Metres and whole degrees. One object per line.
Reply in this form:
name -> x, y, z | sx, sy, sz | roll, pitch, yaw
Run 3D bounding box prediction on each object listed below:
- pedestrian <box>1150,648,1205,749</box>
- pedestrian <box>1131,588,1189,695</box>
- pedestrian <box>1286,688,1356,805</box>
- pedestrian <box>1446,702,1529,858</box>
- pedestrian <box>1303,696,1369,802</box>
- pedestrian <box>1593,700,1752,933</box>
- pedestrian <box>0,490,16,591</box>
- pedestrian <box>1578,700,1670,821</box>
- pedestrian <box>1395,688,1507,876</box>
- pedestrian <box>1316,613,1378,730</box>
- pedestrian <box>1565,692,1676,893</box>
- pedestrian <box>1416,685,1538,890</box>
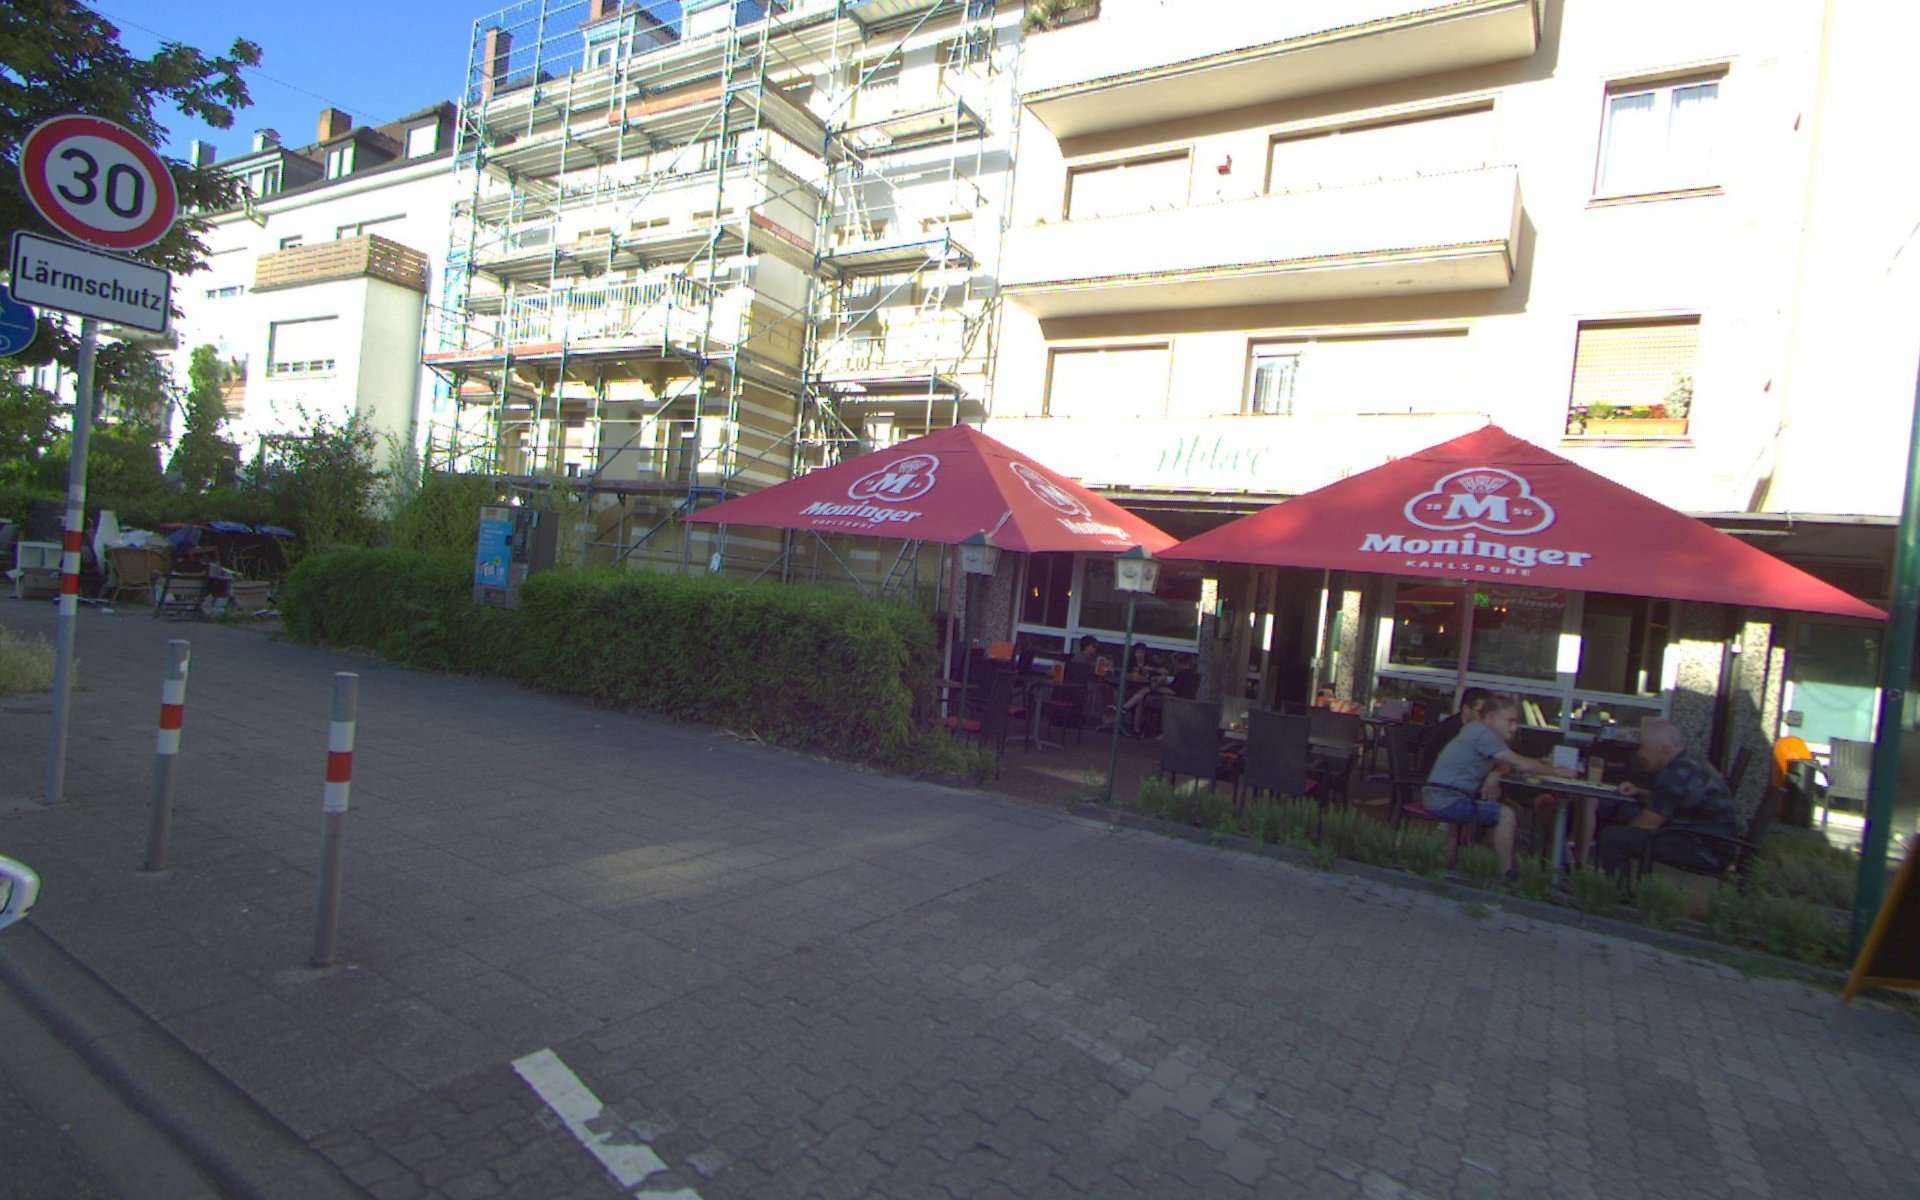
pedestrian -> 2.745, 1.236, 12.664 | 0.407, 1.203, 0.524 | 4, -1, 38
pedestrian -> 3.510, 0.733, 17.652 | 0.674, 1.797, 0.524 | 6, 0, 33
pedestrian -> 3.523, 1.414, 9.816 | 0.407, 1.062, 0.524 | 6, 0, 38
pedestrian -> 4.278, 1.437, 8.150 | 0.407, 1.164, 0.524 | 6, 0, 38
pedestrian -> 3.845, 1.506, 10.284 | 0.407, 1.003, 0.524 | 6, 0, 38
pedestrian -> 4.026, 1.185, 5.705 | 0.622, 1.164, 0.412 | 6, 0, 36
pedestrian -> -15.497, -0.981, 15.817 | 0.734, 1.588, 0.557 | 6, 1, 14
pedestrian -> 7.152, 1.703, 10.847 | 0.709, 1.164, 0.608 | 6, 0, 34
pedestrian -> 3.364, 1.218, 6.887 | 0.518, 1.164, 0.486 | 6, 0, 36
pedestrian -> 6.230, 1.146, 16.194 | 0.674, 1.797, 0.524 | 6, 0, 33
pedestrian -> 4.698, 1.334, 7.168 | 0.532, 1.298, 0.524 | 6, 0, 34
pedestrian -> 3.270, 1.150, 6.353 | 0.518, 1.164, 0.493 | 6, 0, 36
